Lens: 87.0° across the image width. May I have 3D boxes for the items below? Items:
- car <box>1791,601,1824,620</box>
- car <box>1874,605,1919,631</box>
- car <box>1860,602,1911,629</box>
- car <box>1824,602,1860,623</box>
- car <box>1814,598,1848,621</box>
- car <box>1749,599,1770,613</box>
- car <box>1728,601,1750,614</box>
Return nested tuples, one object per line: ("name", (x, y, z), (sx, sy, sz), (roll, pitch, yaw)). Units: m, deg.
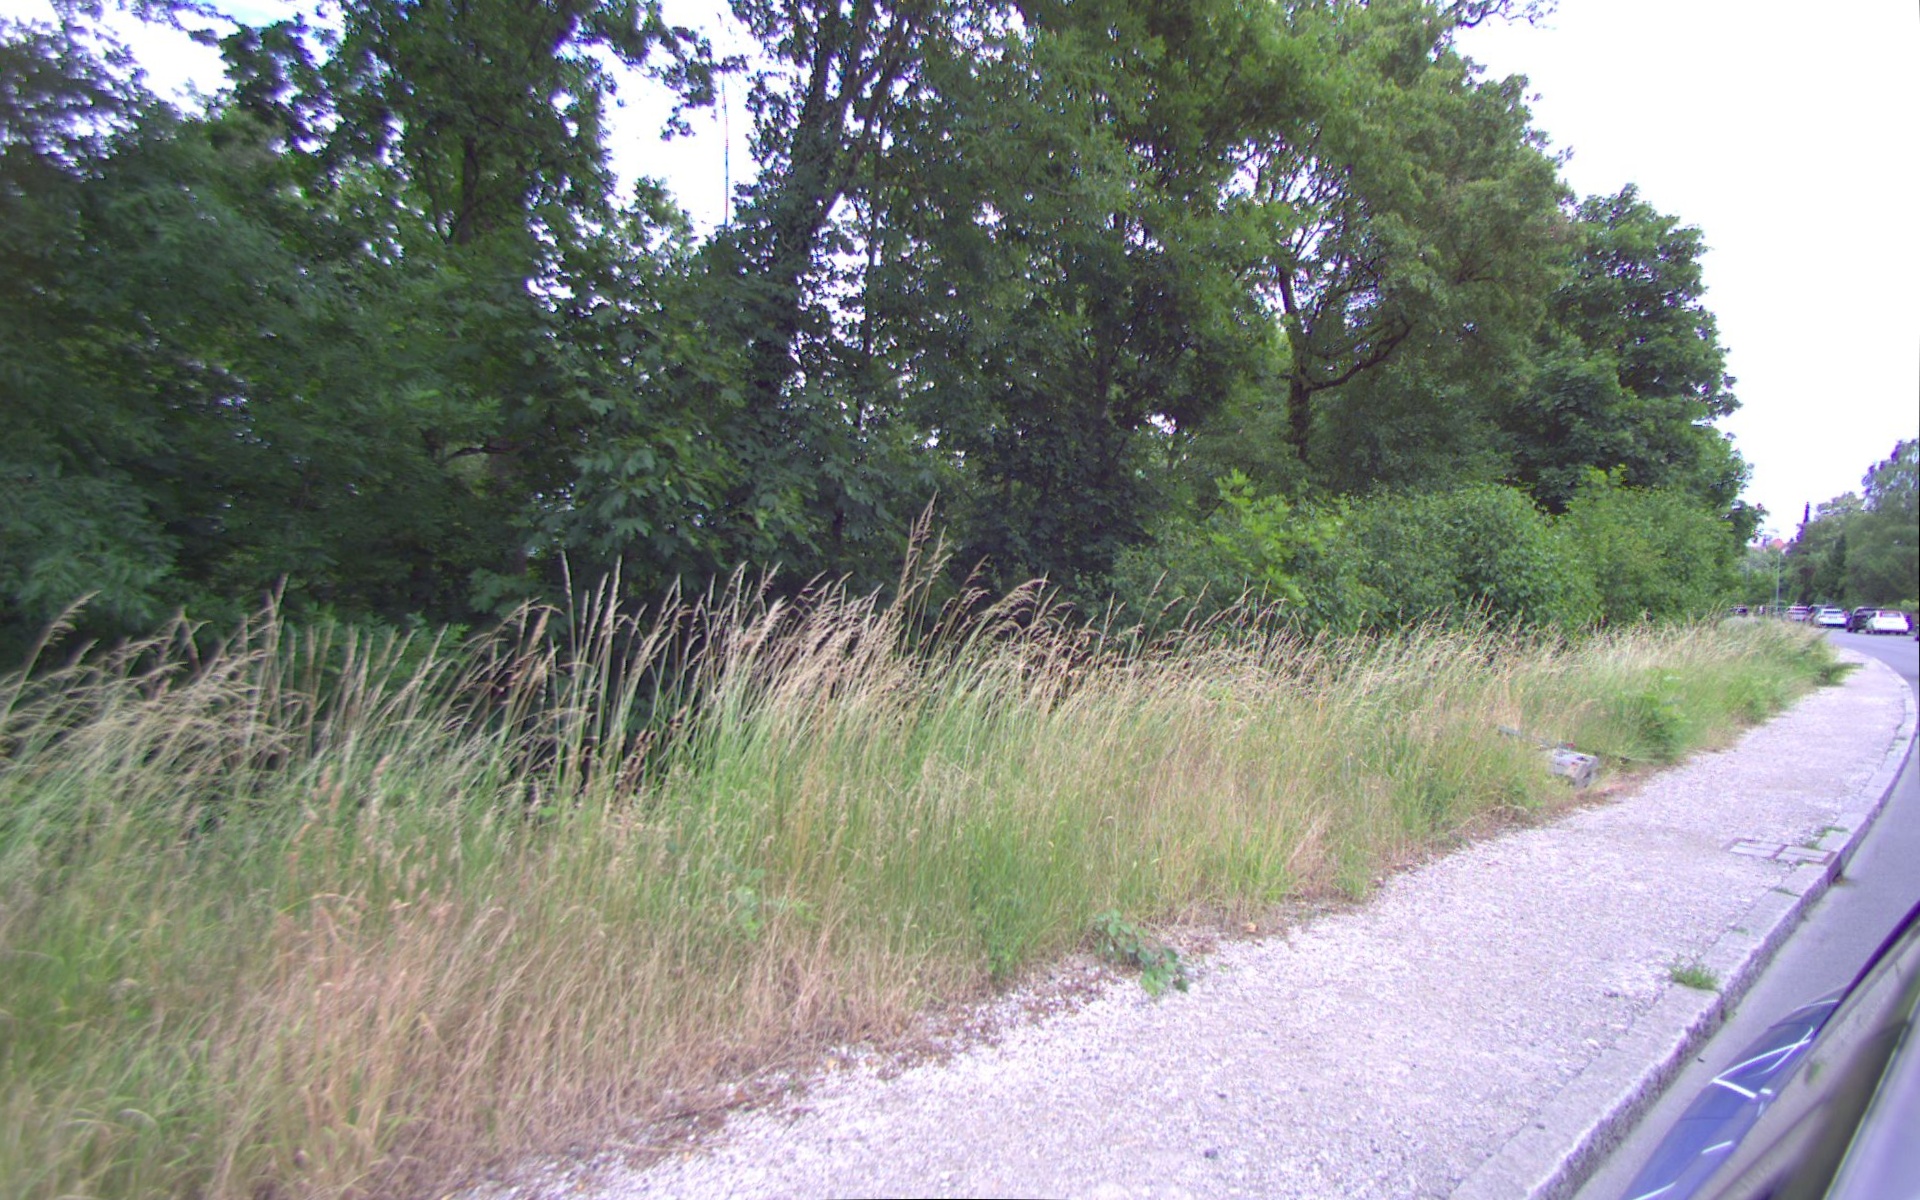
("car", (78.695, 0.938, 94.013), (1.789, 1.627, 4.672), (1, 1, 34))
("car", (57.552, 1.068, 62.010), (1.701, 1.530, 3.898), (1, 1, 34))
("car", (59.899, 0.979, 65.589), (1.785, 1.685, 4.338), (1, 1, 34))
("car", (68.353, 0.957, 78.479), (1.702, 1.530, 4.495), (1, 1, 36))
("car", (71.728, 0.736, 83.369), (1.701, 1.822, 4.243), (1, 1, 35))
("car", (107.421, 0.794, 135.969), (1.911, 1.701, 4.142), (1, 1, 35))
("car", (111.952, 1.070, 145.466), (1.907, 1.701, 4.150), (1, 1, 30))
